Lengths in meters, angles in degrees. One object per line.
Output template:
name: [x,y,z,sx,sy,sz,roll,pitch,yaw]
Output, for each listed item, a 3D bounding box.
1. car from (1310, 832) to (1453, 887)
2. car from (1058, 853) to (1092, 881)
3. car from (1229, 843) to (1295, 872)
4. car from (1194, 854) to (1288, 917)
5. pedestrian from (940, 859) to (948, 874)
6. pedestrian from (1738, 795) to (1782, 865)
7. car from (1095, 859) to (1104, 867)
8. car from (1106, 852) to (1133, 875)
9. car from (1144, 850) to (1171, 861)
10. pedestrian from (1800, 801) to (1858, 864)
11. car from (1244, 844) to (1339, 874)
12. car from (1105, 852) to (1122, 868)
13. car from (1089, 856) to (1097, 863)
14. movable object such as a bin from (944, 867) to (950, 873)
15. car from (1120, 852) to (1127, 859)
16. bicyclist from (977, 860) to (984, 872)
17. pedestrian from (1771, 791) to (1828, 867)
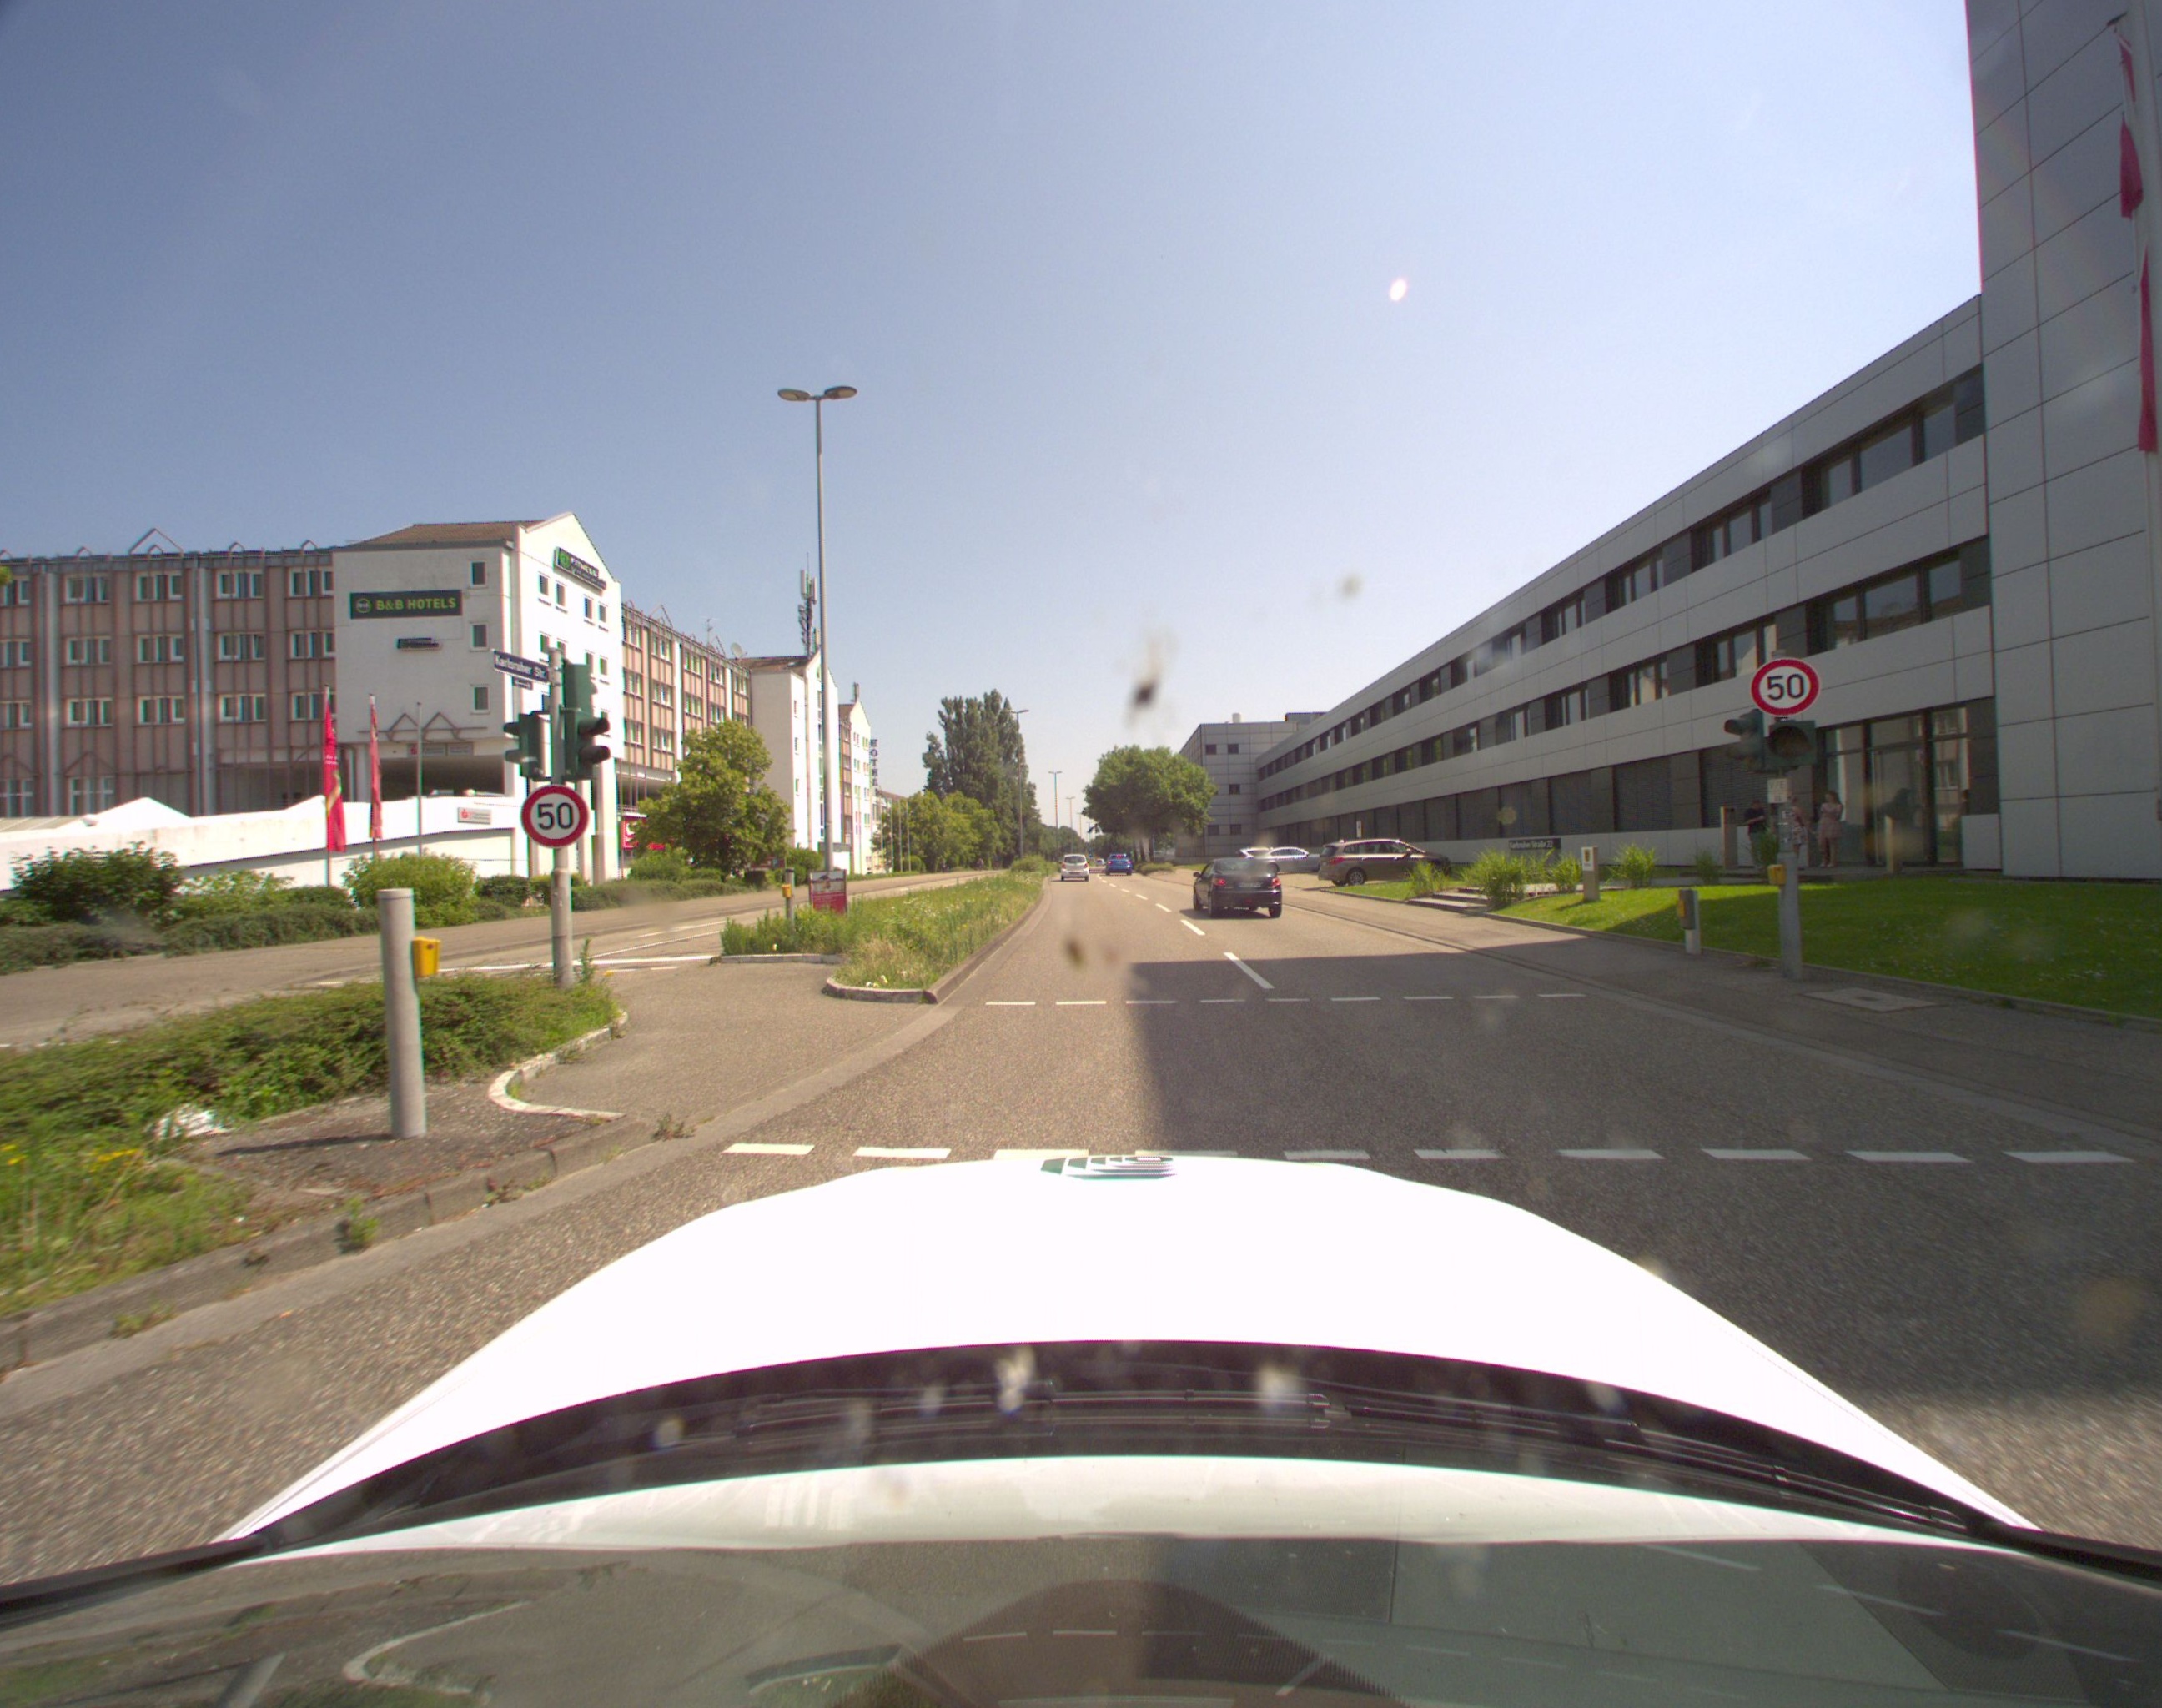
car: [10.492,0.176,28.657,4.249,1.689,1.998,-2,0,-3]
car: [-0.340,0.743,47.947,1.741,1.520,3.749,-1,0,3]
car: [11.754,0.230,53.101,3.804,1.592,1.730,-4,0,-3]
car: [3.800,0.706,19.882,1.621,1.364,3.605,-1,0,0]
pedestrian: [-14.762,1.310,87.694,0.630,1.545,0.727,-2,-1,1]
pedestrian: [16.397,-0.578,19.672,0.589,1.634,0.525,-2,0,10]
car: [3.834,1.852,170.188,1.813,1.662,4.000,-2,0,1]
car: [2.824,0.657,60.215,1.821,1.580,3.606,-2,0,1]
car: [13.346,0.234,141.444,4.483,1.583,2.000,-3,-1,1]
pedestrian: [17.195,-0.479,18.731,0.521,1.405,0.797,-2,0,-8]
car: [11.431,0.259,44.485,4.602,1.390,1.998,-3,0,-3]
car: [3.250,0.553,81.561,1.552,1.520,3.610,-2,0,5]
car: [3.182,1.430,213.787,1.815,1.662,3.997,-2,0,-2]
movable object such as a bin: [-14.362,1.706,87.343,0.425,0.705,0.654,-3,-1,10]
car: [13.118,0.432,253.077,1.765,2.013,3.988,-2,0,-2]
bicyclist: [-12.671,1.532,102.656,0.715,1.516,1.026,-2,-1,-2]
pedestrian: [16.123,-0.545,18.285,0.523,1.663,0.753,-2,0,-16]
